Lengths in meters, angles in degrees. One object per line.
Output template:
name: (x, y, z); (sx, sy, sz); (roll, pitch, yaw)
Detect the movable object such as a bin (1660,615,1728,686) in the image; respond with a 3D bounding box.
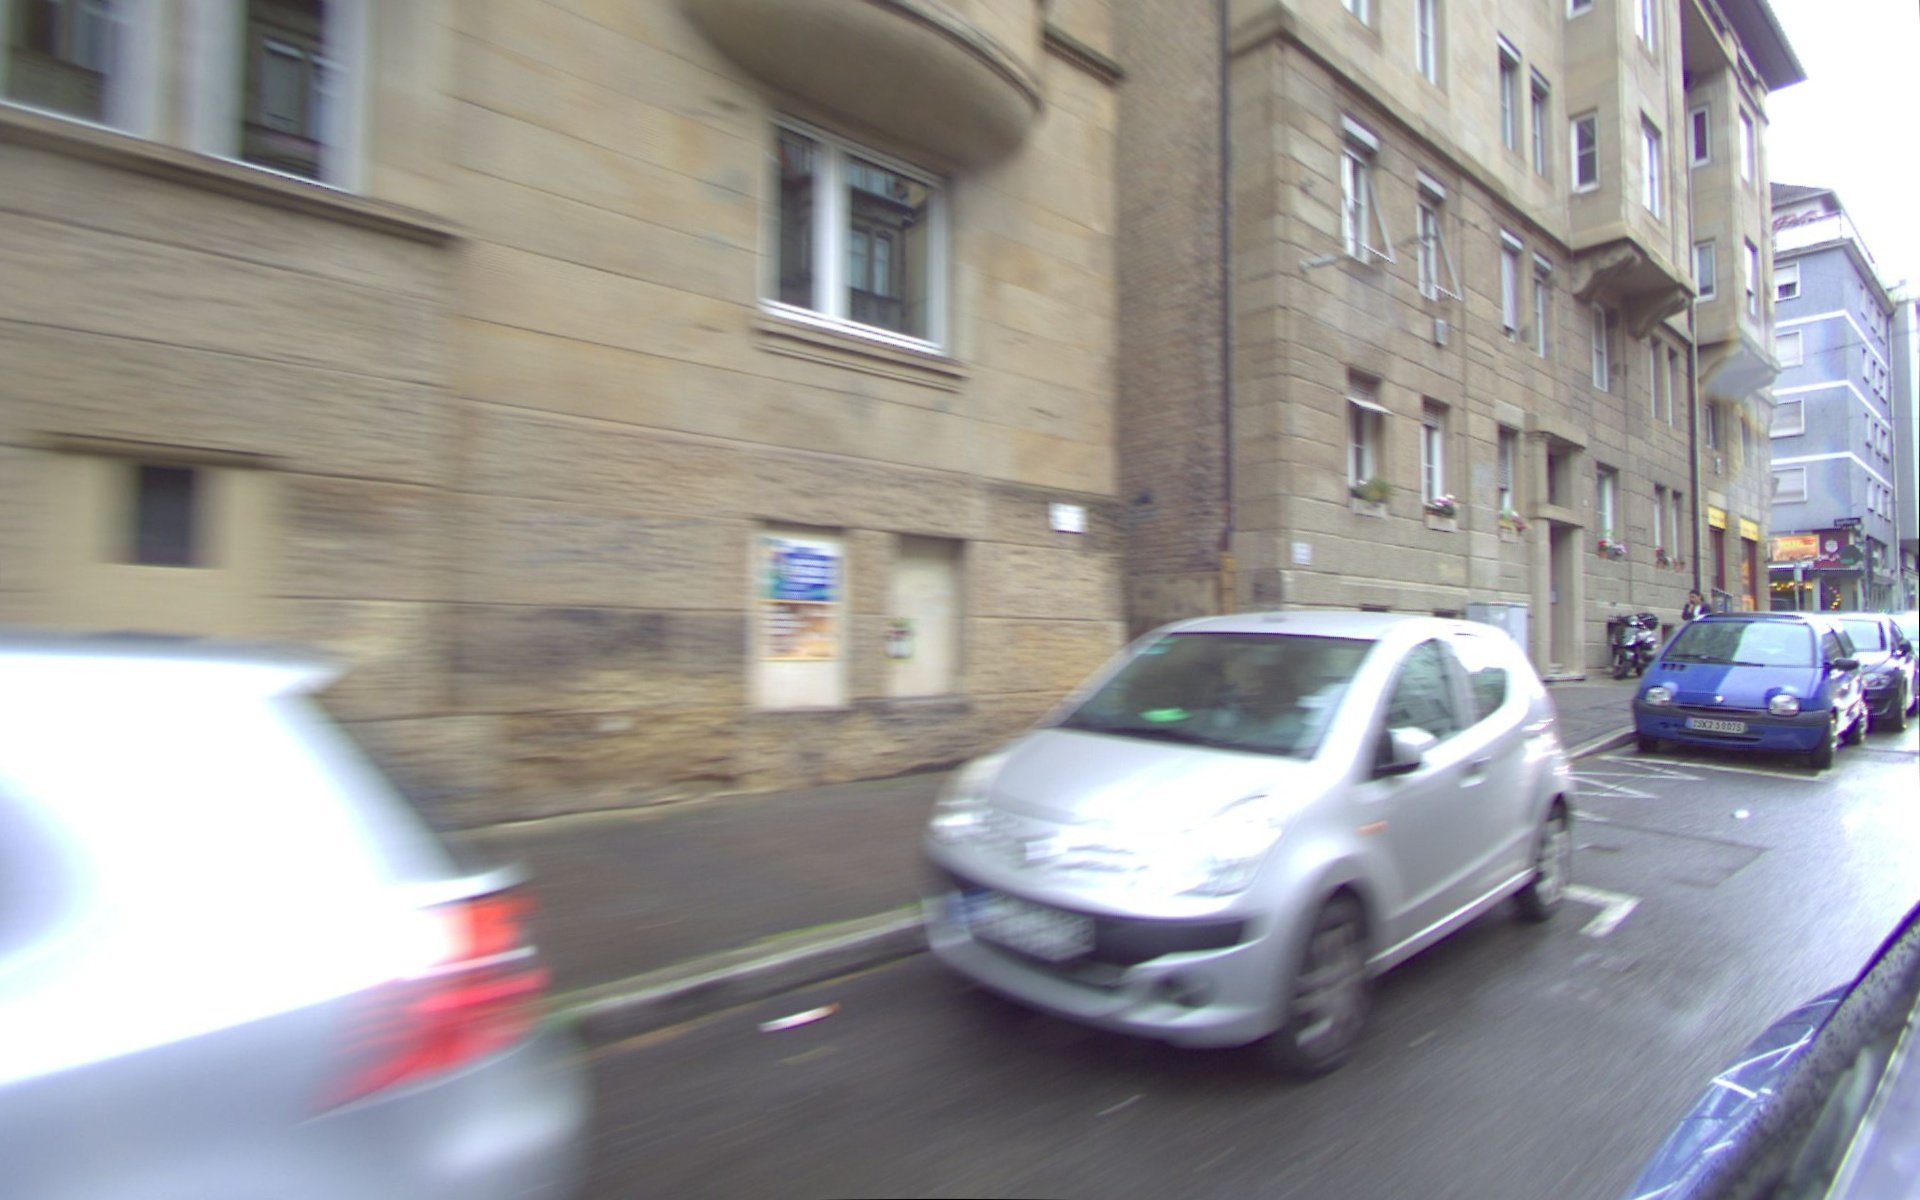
movable object such as a bin: (12.099, 0.806, 16.666); (1.104, 1.117, 0.666); (0, -1, -41)

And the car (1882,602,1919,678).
car: (19.708, 0.769, 20.145); (4.411, 1.404, 1.756); (0, 1, -45)

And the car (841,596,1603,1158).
car: (1.407, 0.724, 4.476); (3.622, 1.452, 1.592); (0, 0, -43)

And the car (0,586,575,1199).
car: (-2.568, 0.701, 0.822); (3.888, 1.452, 1.670); (0, 0, -42)

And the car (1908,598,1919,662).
car: (24.155, 0.724, 24.267); (3.723, 1.462, 1.674); (0, 1, -41)

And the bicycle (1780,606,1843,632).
bicycle: (32.482, 0.729, 38.633); (0.524, 0.985, 1.752); (1, -1, -39)

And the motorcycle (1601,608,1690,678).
motorcycle: (12.793, 0.761, 18.839); (2.698, 1.214, 0.706); (0, -1, -41)

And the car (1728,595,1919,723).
car: (11.944, 0.682, 13.691); (4.014, 1.481, 1.789); (0, 0, -42)

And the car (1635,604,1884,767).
car: (8.525, 0.764, 10.700); (3.387, 1.433, 1.545); (0, 0, -42)

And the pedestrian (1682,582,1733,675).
pedestrian: (12.775, 0.476, 17.294); (0.697, 1.555, 0.562); (1, -1, -41)

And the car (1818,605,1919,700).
car: (15.700, 0.805, 16.827); (3.950, 1.416, 1.709); (0, 0, -42)
